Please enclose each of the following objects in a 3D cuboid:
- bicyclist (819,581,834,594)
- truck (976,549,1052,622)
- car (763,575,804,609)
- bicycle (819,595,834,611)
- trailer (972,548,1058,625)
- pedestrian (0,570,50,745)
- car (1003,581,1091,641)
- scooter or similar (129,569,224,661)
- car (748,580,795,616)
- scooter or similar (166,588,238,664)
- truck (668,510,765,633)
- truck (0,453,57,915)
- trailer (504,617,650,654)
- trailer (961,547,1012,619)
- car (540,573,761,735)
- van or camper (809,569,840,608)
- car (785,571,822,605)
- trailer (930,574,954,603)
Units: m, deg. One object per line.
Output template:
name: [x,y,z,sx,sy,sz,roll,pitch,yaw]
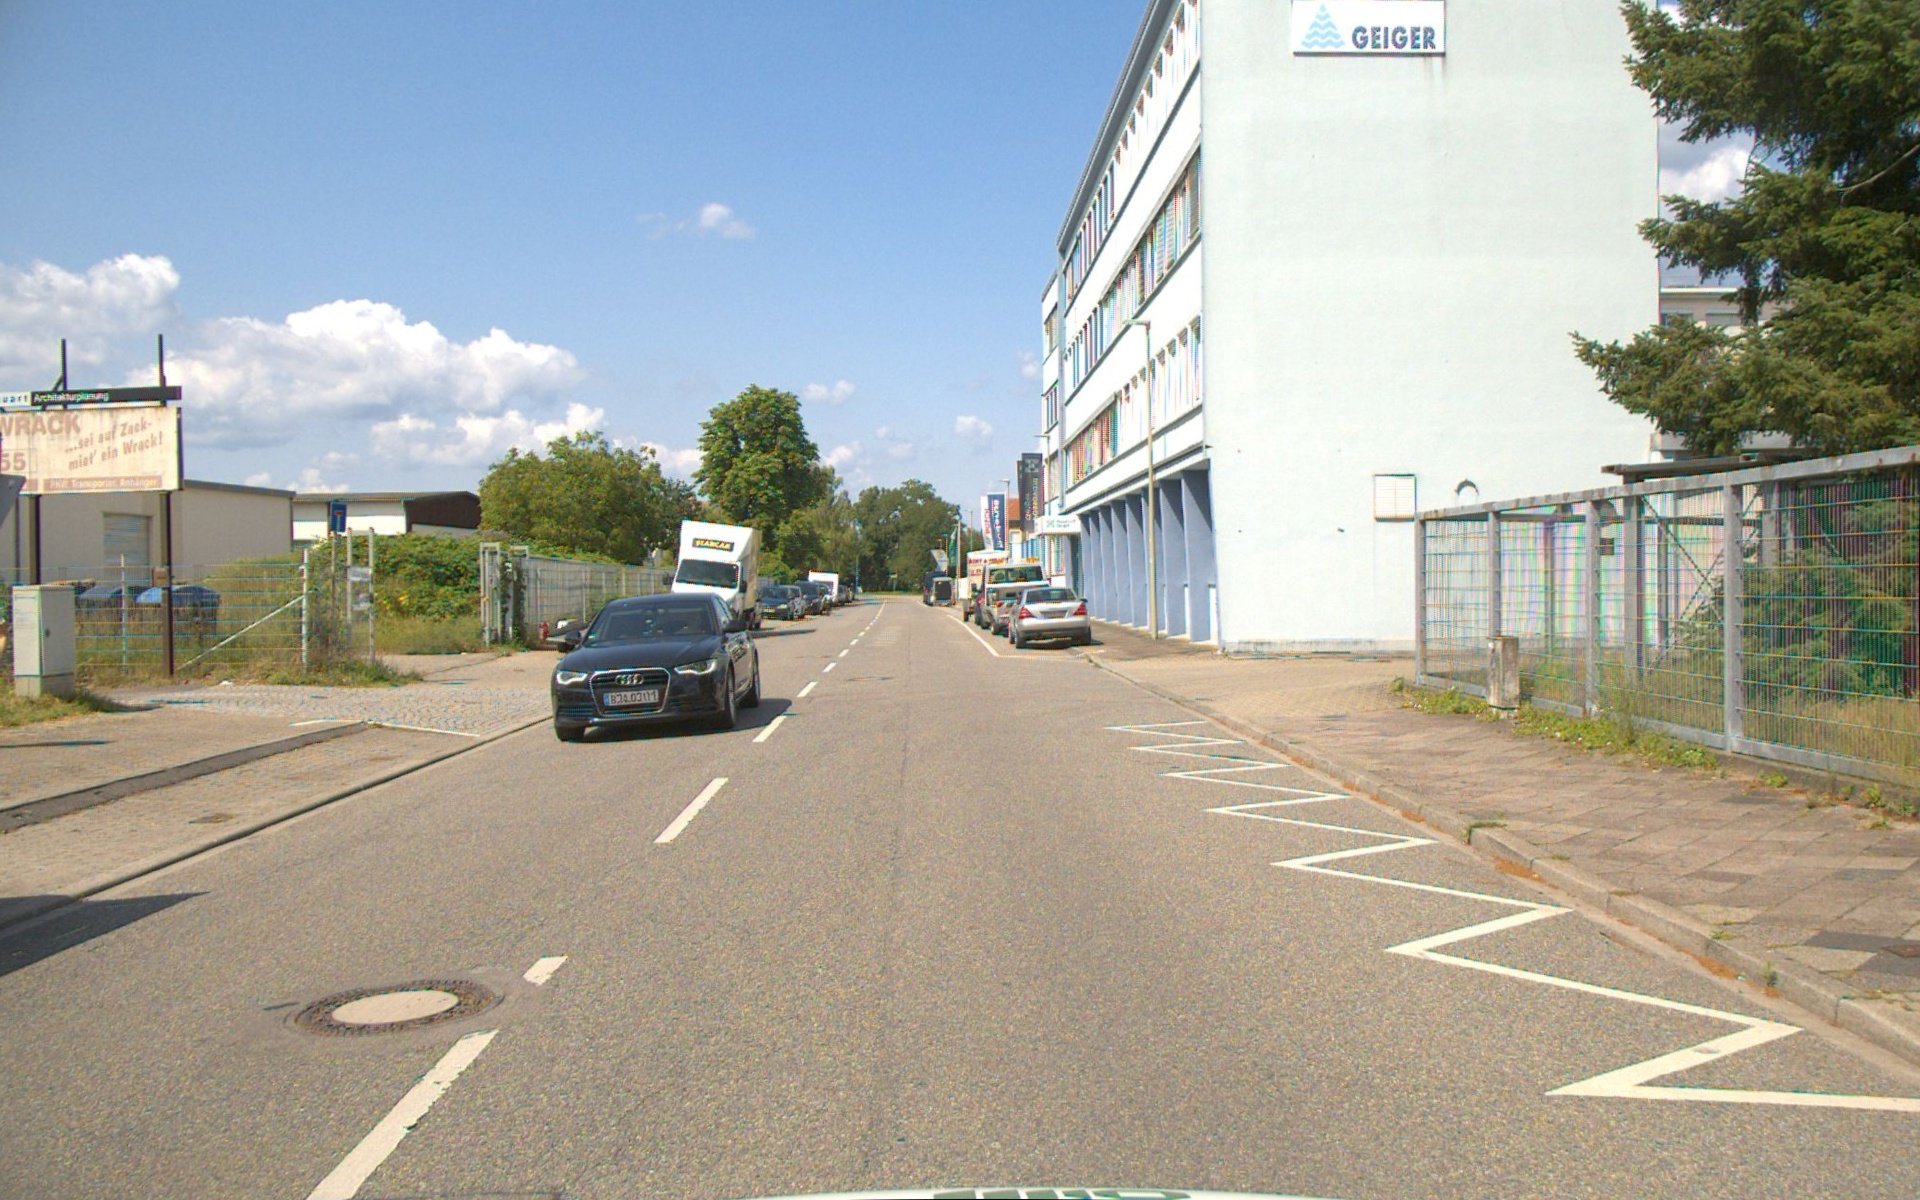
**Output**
bicyclist: [-6.631,-0.620,81.995,0.554,0.642,1.857,0,1,1]
truck: [1.572,-0.433,49.819,1.925,2.070,4.732,-1,0,-3]
car: [-8.136,-0.379,76.453,1.583,1.509,3.708,1,0,-2]
bicycle: [-6.616,0.130,82.002,0.575,0.754,2.125,-1,1,0]
trailer: [1.480,-0.394,46.408,1.933,2.005,5.763,-1,1,-3]
pedestrian: [-8.949,0.515,15.204,0.646,1.572,0.918,-1,1,-1]
car: [1.929,0.209,37.686,1.614,1.268,3.998,-1,1,-3]
scooter or similar: [-14.180,0.261,29.921,1.297,1.614,1.162,0,1,44]
car: [-8.127,-0.095,71.411,1.537,1.423,3.798,4,1,-1]
scooter or similar: [-13.305,0.449,29.028,0.882,1.297,0.876,0,1,44]
truck: [-7.218,-0.842,49.677,2.205,3.420,6.903,-1,1,-3]
truck: [-5.787,0.425,4.882,2.084,2.278,7.350,2,1,1]
trailer: [-7.830,0.715,34.224,2.191,0.562,4.442,2,1,-3]
trailer: [0.978,-0.643,62.388,1.830,2.598,5.072,-1,1,0]
car: [-3.293,0.505,18.394,1.750,1.463,4.307,-4,1,-3]
van or camper: [-10.496,-0.883,128.398,2.218,2.852,6.828,3,0,-4]
car: [-8.476,-0.660,89.774,1.765,1.780,4.710,-1,0,-3]
trailer: [-1.289,-0.809,117.851,1.569,2.073,2.739,0,0,-3]
